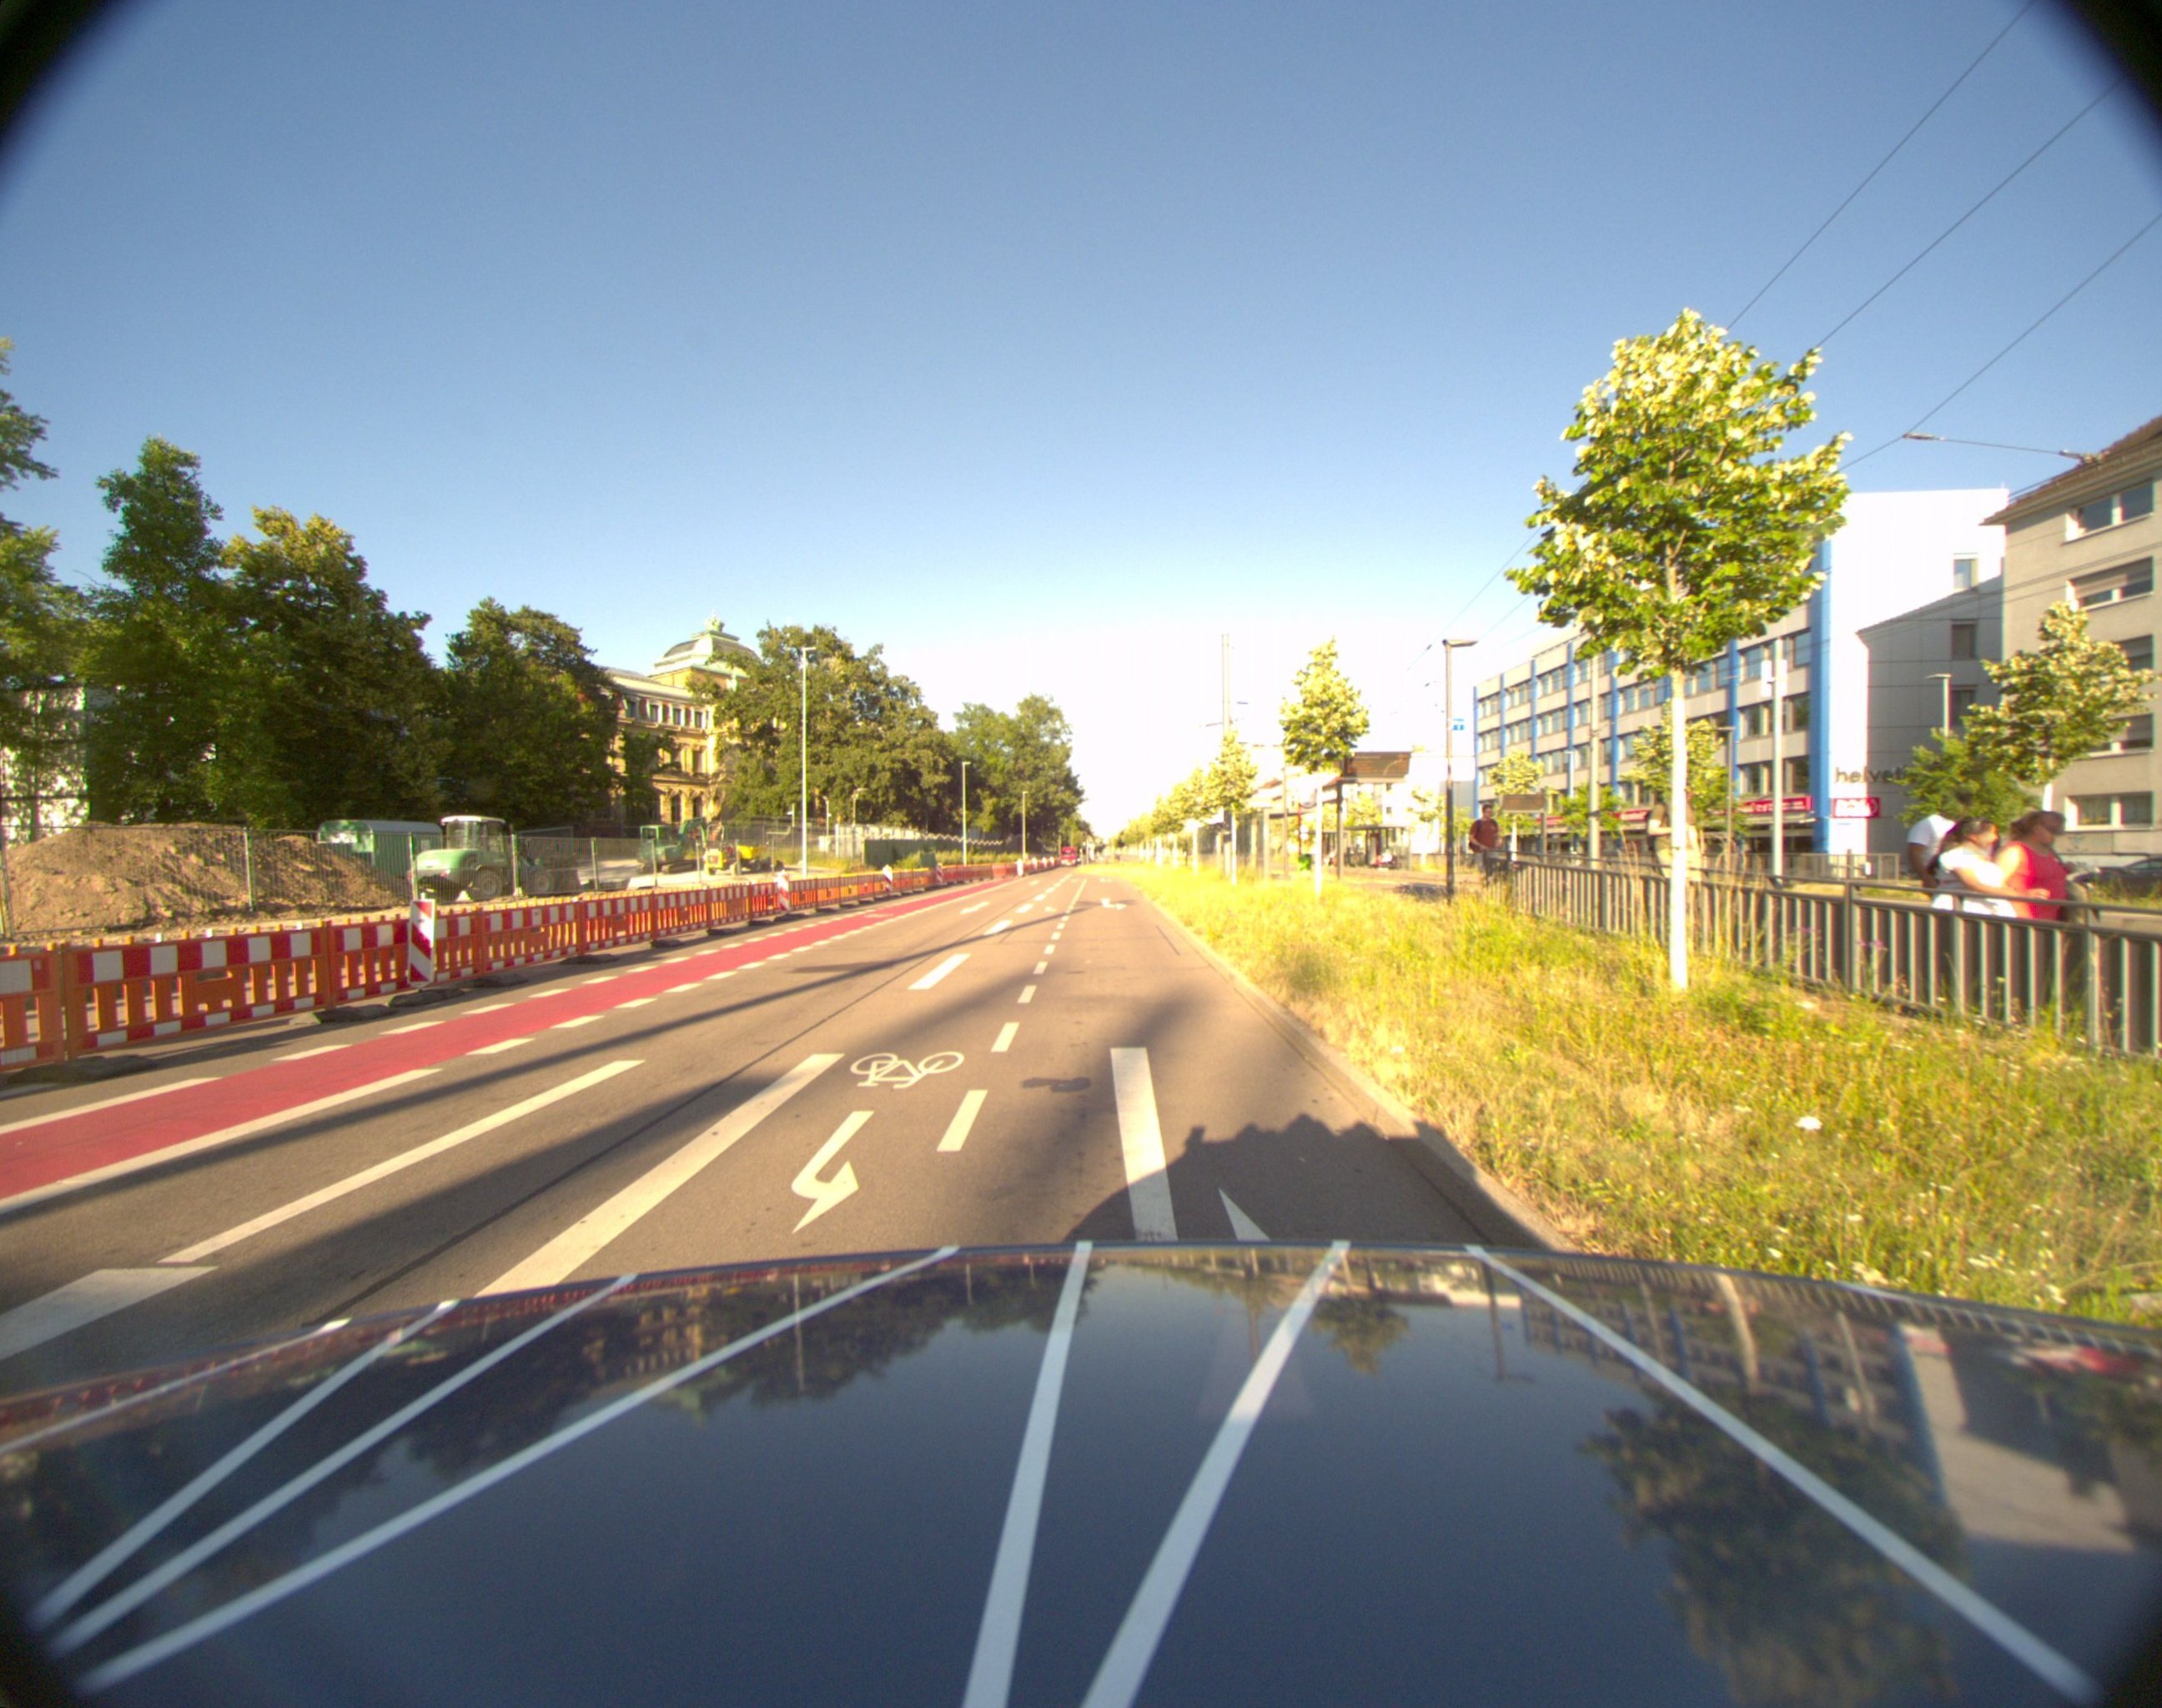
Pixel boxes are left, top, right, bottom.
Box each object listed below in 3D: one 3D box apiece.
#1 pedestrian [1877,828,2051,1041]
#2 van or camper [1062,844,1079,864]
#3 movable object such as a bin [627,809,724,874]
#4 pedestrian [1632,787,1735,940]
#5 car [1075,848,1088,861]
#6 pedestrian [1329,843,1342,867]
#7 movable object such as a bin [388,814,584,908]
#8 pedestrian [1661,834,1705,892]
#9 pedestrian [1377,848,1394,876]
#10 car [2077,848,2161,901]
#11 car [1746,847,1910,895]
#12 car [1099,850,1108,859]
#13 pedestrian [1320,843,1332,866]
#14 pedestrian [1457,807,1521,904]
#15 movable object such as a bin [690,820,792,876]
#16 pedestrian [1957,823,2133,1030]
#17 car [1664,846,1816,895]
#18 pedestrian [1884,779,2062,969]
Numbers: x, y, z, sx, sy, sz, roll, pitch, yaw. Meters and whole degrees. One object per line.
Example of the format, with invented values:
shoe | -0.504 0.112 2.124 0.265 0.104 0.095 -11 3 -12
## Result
pedestrian | 6.361 0.551 5.498 0.638 1.447 0.524 -2 1 -1
van or camper | -1.294 -0.037 97.605 1.998 2.514 5.913 -2 1 1
movable object such as a bin | -22.426 -0.689 42.315 1.998 3.310 5.376 -2 1 5
pedestrian | 7.636 0.113 9.660 0.787 1.853 0.619 -2 1 4
car | 0.115 0.024 123.598 1.998 2.002 3.999 -2 1 1
pedestrian | 18.605 0.074 55.548 0.659 1.682 0.772 -2 1 7
movable object such as a bin | -19.045 0.169 24.727 1.998 2.668 5.015 -2 1 5
pedestrian | 17.868 0.259 22.553 0.787 1.663 0.619 -2 1 4
pedestrian | 18.267 0.470 45.608 0.660 1.682 0.772 -2 1 -1
car | 33.155 0.622 22.748 1.886 1.499 3.674 -2 1 1
car | 26.011 0.533 26.669 1.886 1.499 3.942 -2 1 1
car | 5.303 -0.001 179.509 1.998 2.002 3.999 -2 1 1
pedestrian | 18.665 0.046 57.852 0.659 1.682 0.772 -2 1 4
pedestrian | 7.357 0.032 13.732 0.787 1.689 0.619 -2 1 4
movable object such as a bin | -18.647 -0.353 42.080 1.997 2.800 5.871 -2 1 11
pedestrian | 7.057 0.507 5.582 0.638 1.423 0.524 -2 1 -3
car | 22.819 0.516 26.537 1.886 1.499 3.942 -2 1 1
pedestrian | 7.690 0.165 6.582 0.787 1.540 0.619 -2 1 4
